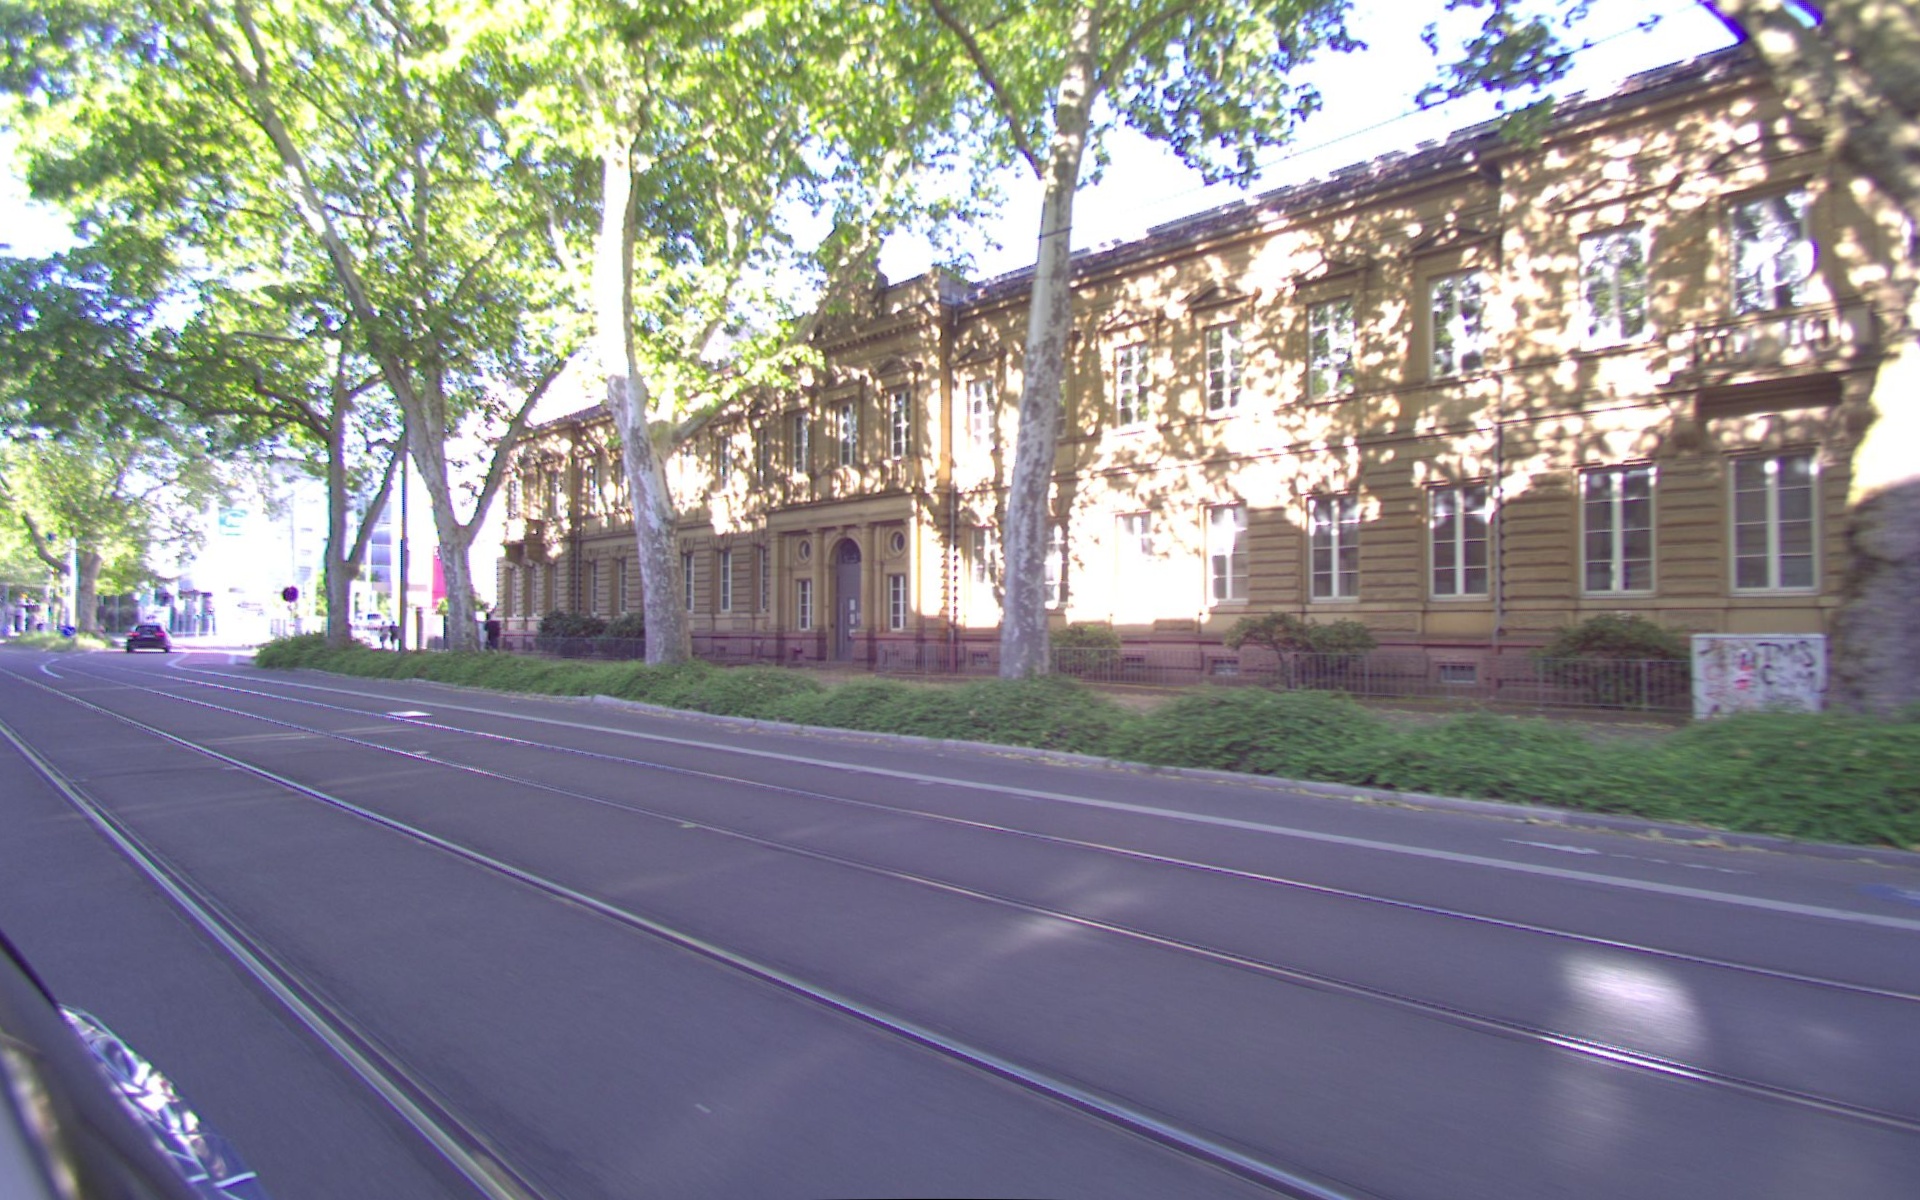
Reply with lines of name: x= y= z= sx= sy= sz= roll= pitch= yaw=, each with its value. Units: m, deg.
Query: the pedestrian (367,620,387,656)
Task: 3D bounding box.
pedestrian: x=-27.861 y=1.801 z=48.328 sx=0.655 sy=1.710 sz=0.628 roll=-1 pitch=-1 yaw=38

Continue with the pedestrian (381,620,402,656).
pedestrian: x=-27.485 y=1.846 z=48.913 sx=0.660 sy=1.710 sz=0.665 roll=-1 pitch=-1 yaw=34

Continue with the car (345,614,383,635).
car: x=-53.480 y=2.229 z=90.721 sx=3.999 sy=1.831 sz=1.828 roll=-1 pitch=-1 yaw=42

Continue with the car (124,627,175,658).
car: x=-44.970 y=2.339 z=56.233 sx=1.841 sy=1.642 sz=4.571 roll=1 pitch=-3 yaw=-35

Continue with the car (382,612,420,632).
car: x=-51.016 y=1.972 z=92.372 sx=3.999 sy=1.765 sz=1.828 roll=-1 pitch=-1 yaw=42

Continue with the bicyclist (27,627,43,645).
bicyclist: x=-82.470 y=3.221 z=90.255 sx=0.760 sy=1.588 sz=0.994 roll=-1 pitch=-1 yaw=41

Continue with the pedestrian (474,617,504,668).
pedestrian: x=-17.430 y=1.571 z=37.468 sx=0.836 sy=1.863 sz=0.712 roll=-1 pitch=-1 yaw=39
